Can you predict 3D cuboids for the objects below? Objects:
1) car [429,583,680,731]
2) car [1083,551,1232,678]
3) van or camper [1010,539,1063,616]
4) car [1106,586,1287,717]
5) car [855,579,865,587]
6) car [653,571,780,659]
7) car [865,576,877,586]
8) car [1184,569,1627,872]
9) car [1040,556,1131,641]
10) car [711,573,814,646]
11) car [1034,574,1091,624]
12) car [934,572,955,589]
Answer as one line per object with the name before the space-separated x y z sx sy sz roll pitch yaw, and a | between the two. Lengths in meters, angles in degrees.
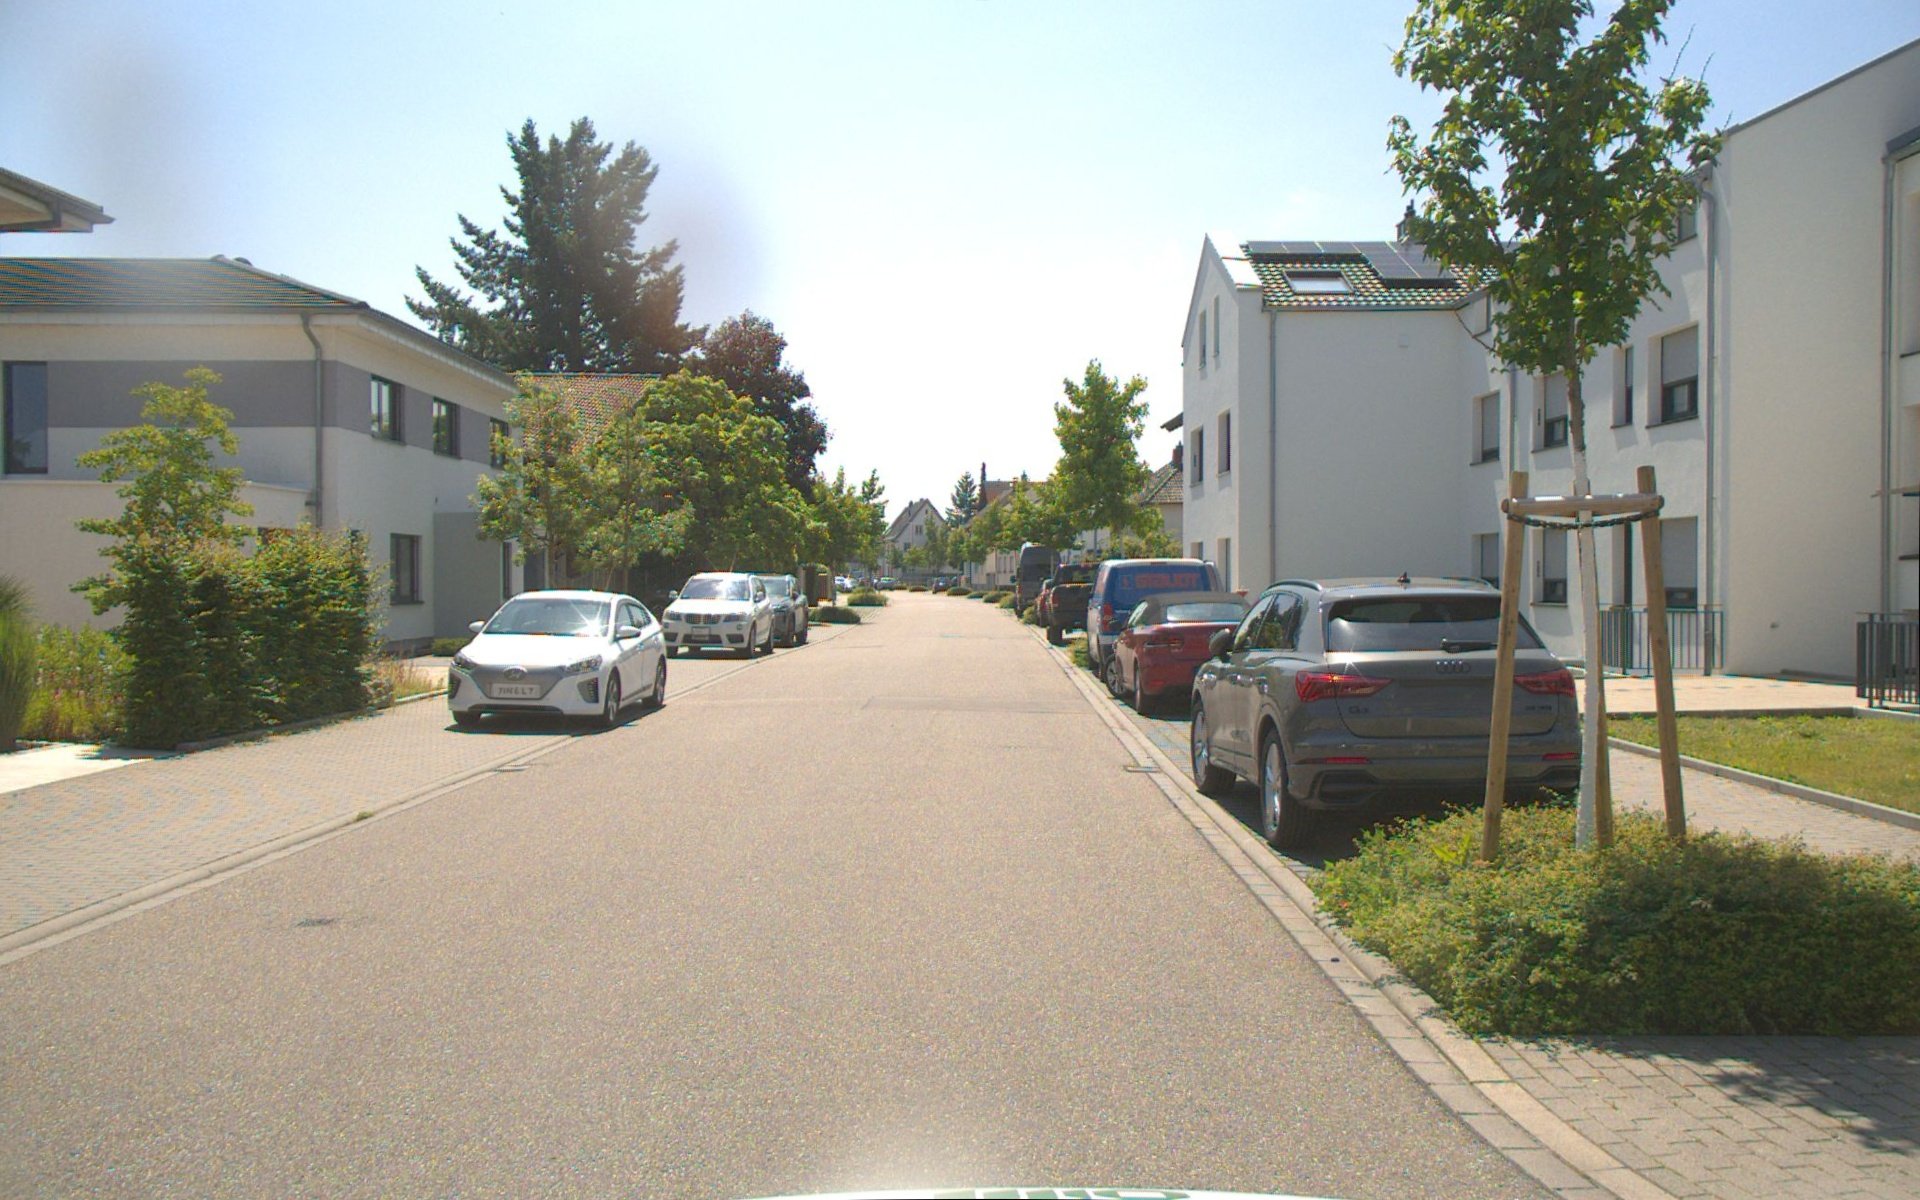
car | -4.653 0.579 19.666 1.814 1.514 4.386 1 1 1
car | 3.188 0.184 27.648 2.056 1.914 4.844 0 1 2
van or camper | 3.066 -0.917 66.900 1.952 2.992 4.001 0 1 1
car | 2.899 0.575 21.046 1.646 1.467 4.026 0 1 -1
car | -13.977 -2.349 231.130 1.166 1.089 3.048 0 1 -8
car | -5.008 0.256 34.598 1.887 1.716 4.499 0 1 1
car | -11.939 -2.529 221.710 1.630 1.272 3.929 0 1 -3
car | 2.711 0.619 11.110 1.737 1.623 4.278 -1 1 -1
car | 3.119 -0.066 42.012 1.952 1.981 5.215 -1 1 1
car | -4.834 0.190 40.989 1.952 1.709 4.215 0 1 1
car | 3.441 -0.060 56.066 1.636 1.623 3.555 -1 1 -1
car | -1.513 -1.887 161.058 1.952 1.601 4.001 -1 1 1
